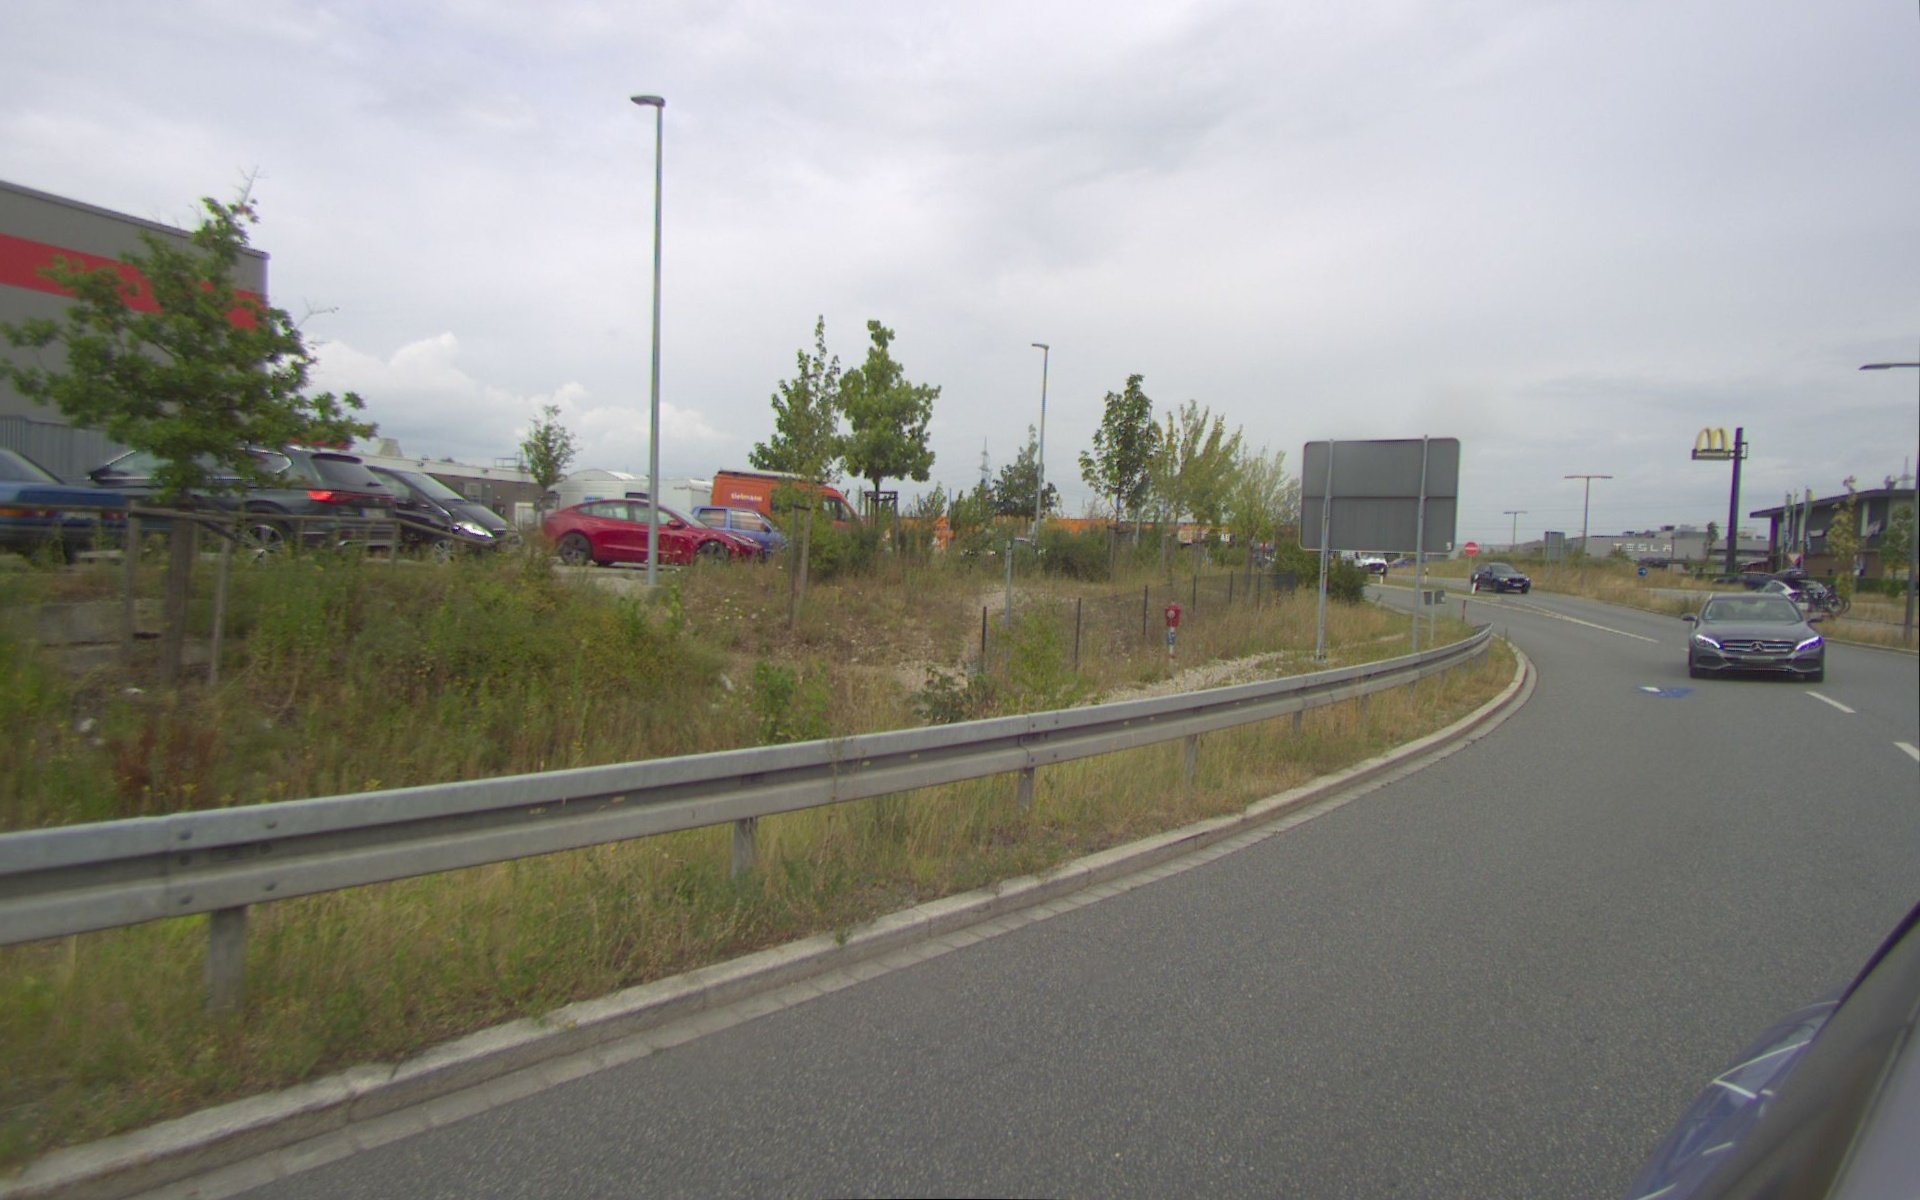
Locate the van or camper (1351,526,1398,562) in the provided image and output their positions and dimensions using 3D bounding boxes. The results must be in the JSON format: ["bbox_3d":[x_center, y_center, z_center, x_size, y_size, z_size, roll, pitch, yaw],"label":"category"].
[{"bbox_3d":[32.264,-4.305,78.954,2.298,2.682,6.025,1,2,12],"label":"van or camper"}]

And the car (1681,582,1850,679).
[{"bbox_3d":[14.251,0.457,18.146,1.893,1.516,4.289,-1,0,33],"label":"car"}]

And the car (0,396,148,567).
[{"bbox_3d":[-11.385,-1.207,10.913,3.781,1.674,1.735,-1,0,-5],"label":"car"}]

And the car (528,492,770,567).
[{"bbox_3d":[-6.368,-1.446,21.025,4.502,1.417,1.704,1,3,1],"label":"car"}]

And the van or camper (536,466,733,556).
[{"bbox_3d":[-12.806,-3.495,39.628,7.659,3.217,2.471,3,2,25],"label":"van or camper"}]

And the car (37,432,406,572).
[{"bbox_3d":[-9.498,-1.238,13.229,3.660,1.674,1.520,-1,0,-4],"label":"car"}]

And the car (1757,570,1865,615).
[{"bbox_3d":[32.935,-0.302,39.326,1.893,1.647,4.602,-1,0,23],"label":"car"}]

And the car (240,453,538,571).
[{"bbox_3d":[-8.898,-1.342,15.986,3.723,1.537,1.692,3,2,1],"label":"car"}]

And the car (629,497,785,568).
[{"bbox_3d":[-5.862,-1.562,23.665,3.243,1.398,1.502,4,3,-1],"label":"car"}]

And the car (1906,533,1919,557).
[{"bbox_3d":[70.144,-3.983,73.290,3.948,1.678,1.895,-2,4,-40],"label":"car"}]

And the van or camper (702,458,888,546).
[{"bbox_3d":[-4.343,-2.491,26.434,4.577,2.022,1.818,1,1,-16],"label":"van or camper"}]

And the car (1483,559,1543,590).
[{"bbox_3d":[32.654,-1.468,59.867,1.814,1.741,3.990,-1,1,9],"label":"car"}]
